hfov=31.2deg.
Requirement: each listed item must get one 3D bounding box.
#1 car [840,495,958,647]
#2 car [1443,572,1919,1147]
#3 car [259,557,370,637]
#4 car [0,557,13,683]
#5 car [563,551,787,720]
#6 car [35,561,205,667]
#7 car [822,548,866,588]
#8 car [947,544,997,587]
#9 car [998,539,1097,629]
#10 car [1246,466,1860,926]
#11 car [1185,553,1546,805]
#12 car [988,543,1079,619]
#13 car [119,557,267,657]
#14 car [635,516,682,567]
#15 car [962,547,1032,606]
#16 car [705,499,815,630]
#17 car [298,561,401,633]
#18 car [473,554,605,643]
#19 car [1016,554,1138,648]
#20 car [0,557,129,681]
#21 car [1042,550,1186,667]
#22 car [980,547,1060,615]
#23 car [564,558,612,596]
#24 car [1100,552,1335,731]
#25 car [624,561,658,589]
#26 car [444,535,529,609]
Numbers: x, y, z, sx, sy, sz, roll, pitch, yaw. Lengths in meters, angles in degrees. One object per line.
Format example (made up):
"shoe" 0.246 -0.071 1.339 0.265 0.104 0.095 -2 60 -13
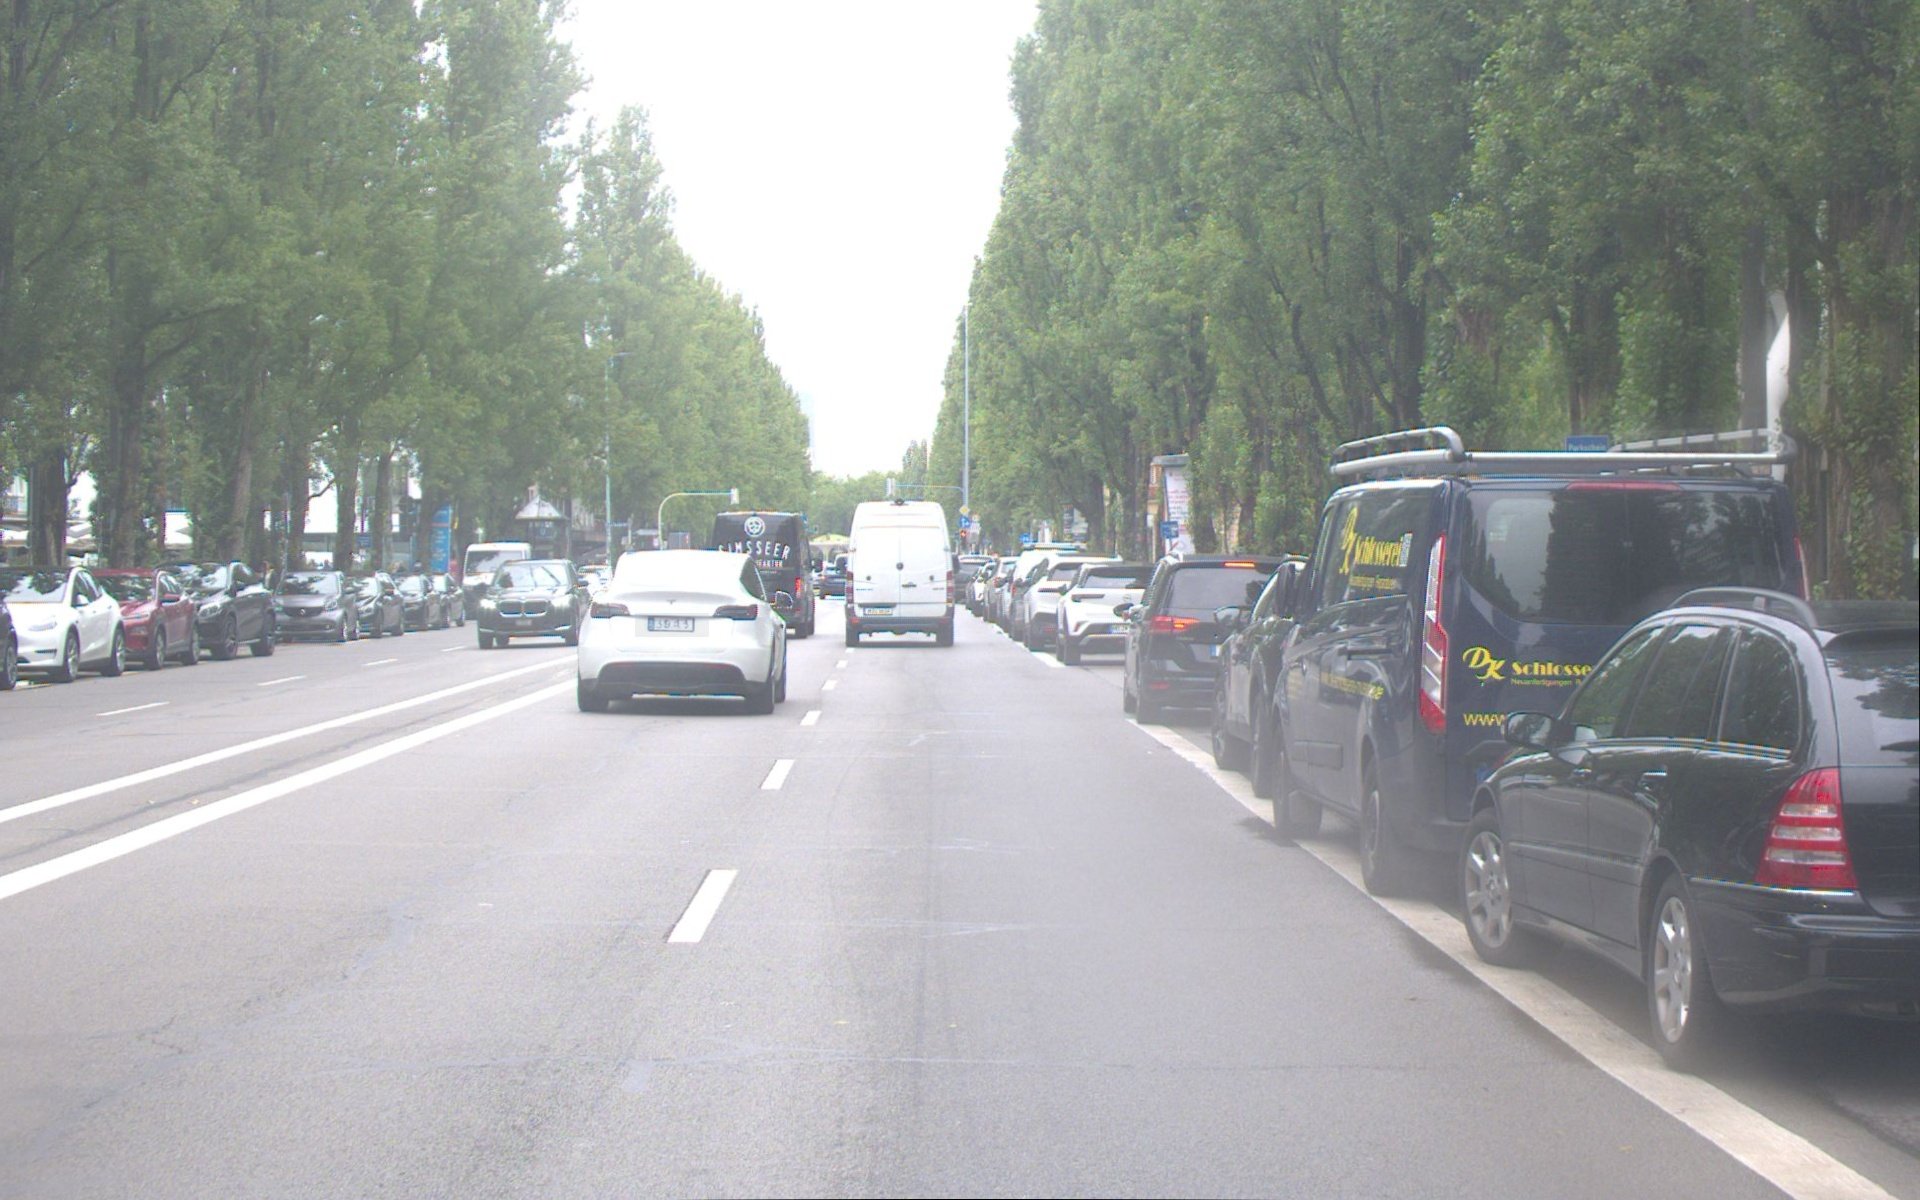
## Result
"car" -1.147 -0.582 63.853 2.040 2.643 6.042 1 1 -1
"car" 2.893 0.695 11.407 1.742 1.521 4.235 1 1 -3
"car" -13.721 -0.080 73.213 1.761 1.573 3.461 0 2 -1
"car" -13.055 0.300 42.637 1.942 1.573 3.611 0 2 -6
"car" -2.847 0.305 35.242 1.993 1.570 4.639 1 1 -1
"car" -13.173 0.194 54.126 1.761 1.573 3.973 0 1 -1
"car" -4.877 -1.351 143.772 1.742 1.637 3.952 1 1 -3
"car" 0.454 -1.342 134.184 1.742 1.637 3.952 1 1 -3
"car" 1.791 -0.348 71.307 1.742 1.781 3.952 1 1 -3
"car" 2.721 0.376 17.060 1.910 1.918 5.040 1 1 -3
"car" 2.619 0.460 23.066 1.742 1.521 3.952 1 1 -3
"car" 1.616 -0.438 76.735 1.742 1.637 3.952 1 1 -3
"car" -13.282 0.095 59.725 1.761 1.573 3.973 0 2 -1
"car" -16.891 -3.283 192.924 2.193 2.709 7.001 0 2 -1
"car" 1.045 -0.689 98.284 1.742 1.637 3.952 1 1 -3
"car" -4.072 -0.755 70.794 2.075 2.547 5.933 1 1 -2
"car" -13.702 -0.086 77.293 1.761 1.573 3.461 0 1 -1
"car" -7.883 -0.058 64.718 1.993 1.543 4.639 1 1 -1
"car" 1.985 -0.004 59.210 1.742 1.541 3.952 1 1 -3
"car" -13.025 0.229 48.356 1.761 1.573 3.973 0 2 -1
"car" 2.249 0.099 51.148 1.742 1.637 3.952 1 1 -3
"car" 1.510 -0.494 87.264 1.742 1.637 3.952 1 1 -3
"car" -14.402 -0.903 133.206 1.551 1.343 3.461 0 2 -1
"car" 2.400 0.347 32.902 1.742 1.586 3.952 1 1 -3
"car" -16.954 -1.337 182.554 1.551 1.343 3.461 0 2 -1
"car" -14.472 -0.895 105.368 1.993 2.111 5.001 0 2 -1
